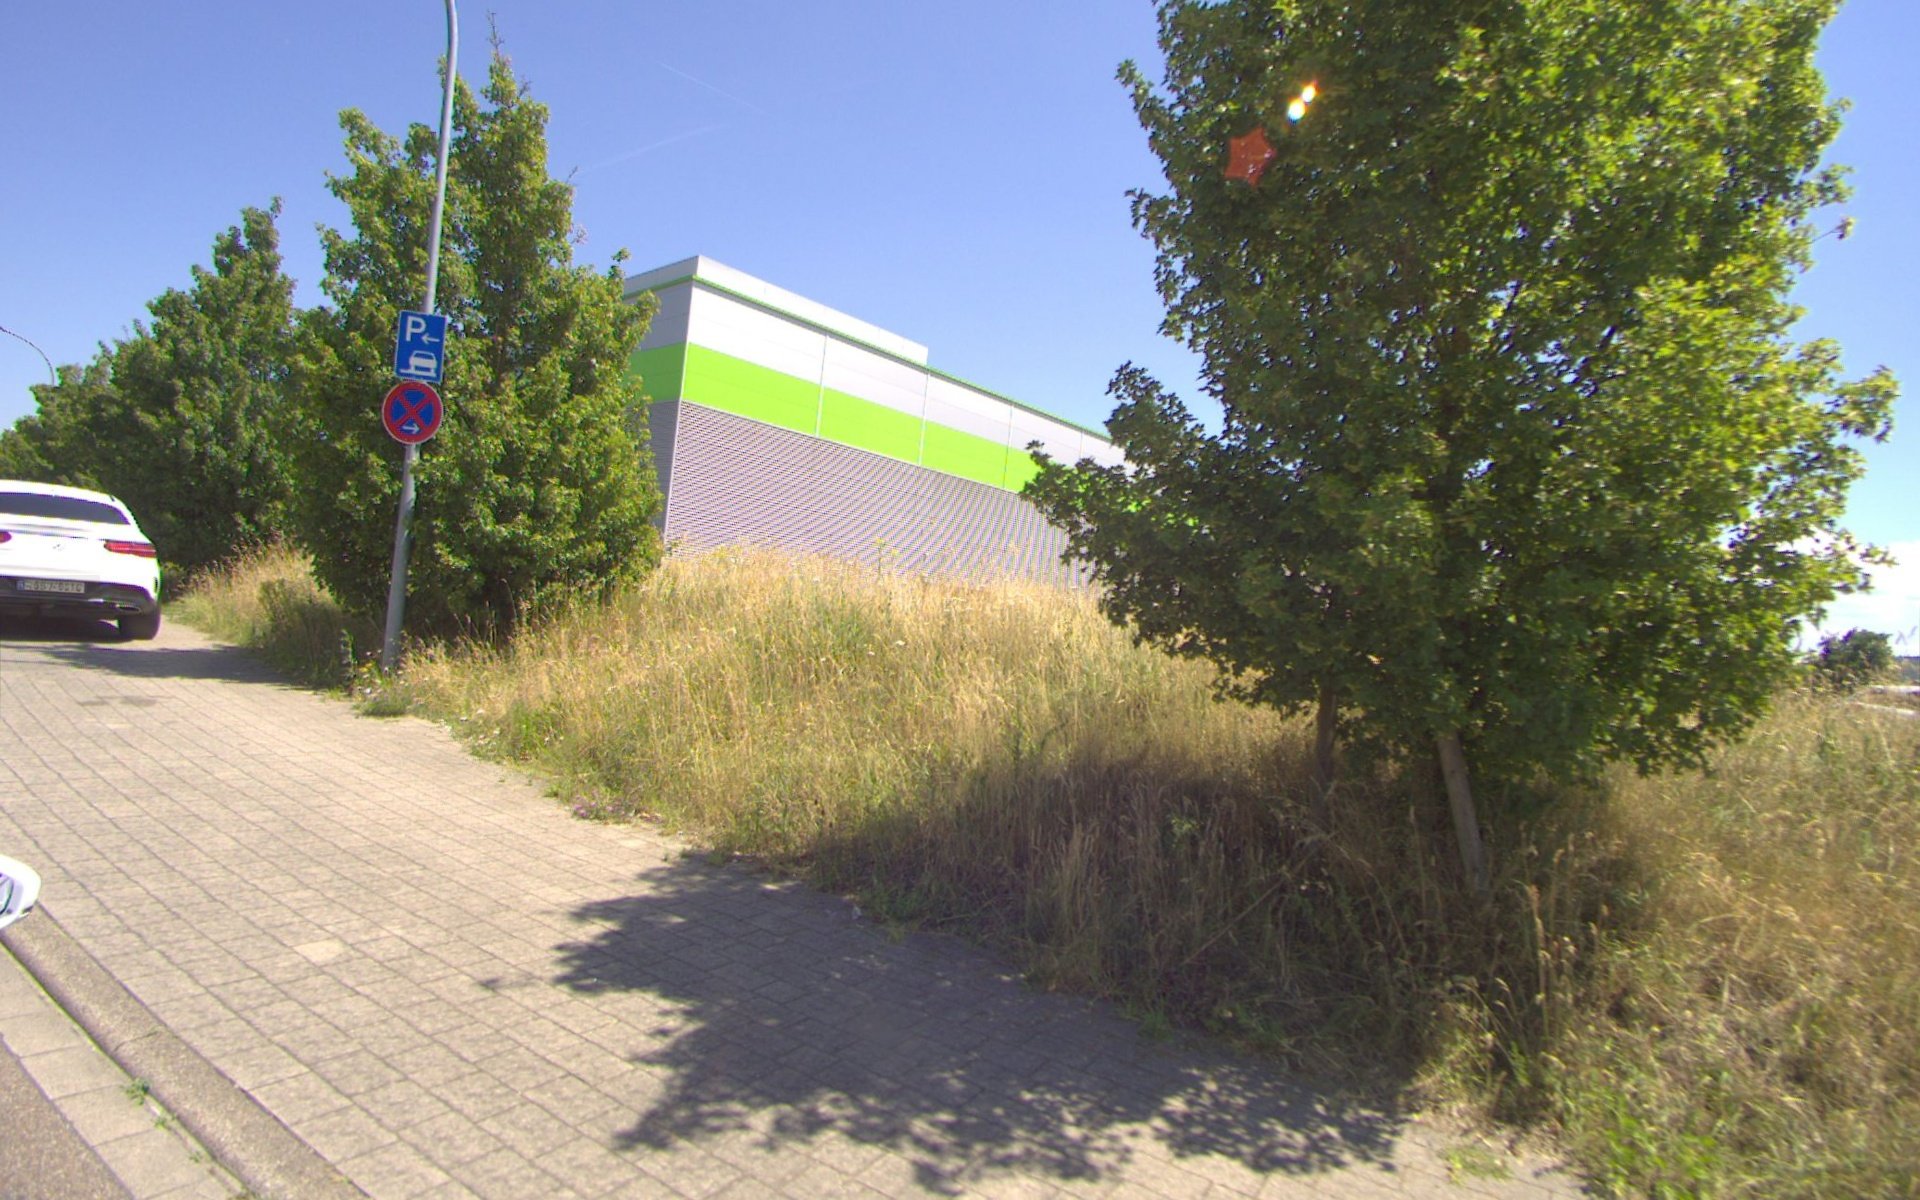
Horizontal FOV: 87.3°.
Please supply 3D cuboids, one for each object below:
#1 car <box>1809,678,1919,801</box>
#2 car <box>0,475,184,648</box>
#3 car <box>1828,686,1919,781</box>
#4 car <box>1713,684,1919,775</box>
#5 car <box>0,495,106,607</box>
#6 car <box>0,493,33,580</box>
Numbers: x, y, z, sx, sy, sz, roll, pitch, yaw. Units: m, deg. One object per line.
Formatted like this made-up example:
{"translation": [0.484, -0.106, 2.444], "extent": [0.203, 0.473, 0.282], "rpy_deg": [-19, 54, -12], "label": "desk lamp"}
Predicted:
{"translation": [16.566, 2.422, 16.168], "extent": [4.341, 1.807, 1.945], "rpy_deg": [4, -2, 41], "label": "car"}
{"translation": [-11.316, -0.537, 12.259], "extent": [4.721, 1.720, 2.139], "rpy_deg": [5, 0, 43], "label": "car"}
{"translation": [21.733, 3.058, 21.746], "extent": [4.343, 1.889, 1.990], "rpy_deg": [4, -2, 43], "label": "car"}
{"translation": [23.085, 3.430, 27.007], "extent": [4.343, 1.807, 1.990], "rpy_deg": [4, -2, 43], "label": "car"}
{"translation": [-15.522, -0.884, 16.171], "extent": [4.563, 1.548, 1.901], "rpy_deg": [5, 0, 40], "label": "car"}
{"translation": [-20.539, -1.421, 20.661], "extent": [4.399, 1.656, 1.800], "rpy_deg": [5, 0, 43], "label": "car"}
